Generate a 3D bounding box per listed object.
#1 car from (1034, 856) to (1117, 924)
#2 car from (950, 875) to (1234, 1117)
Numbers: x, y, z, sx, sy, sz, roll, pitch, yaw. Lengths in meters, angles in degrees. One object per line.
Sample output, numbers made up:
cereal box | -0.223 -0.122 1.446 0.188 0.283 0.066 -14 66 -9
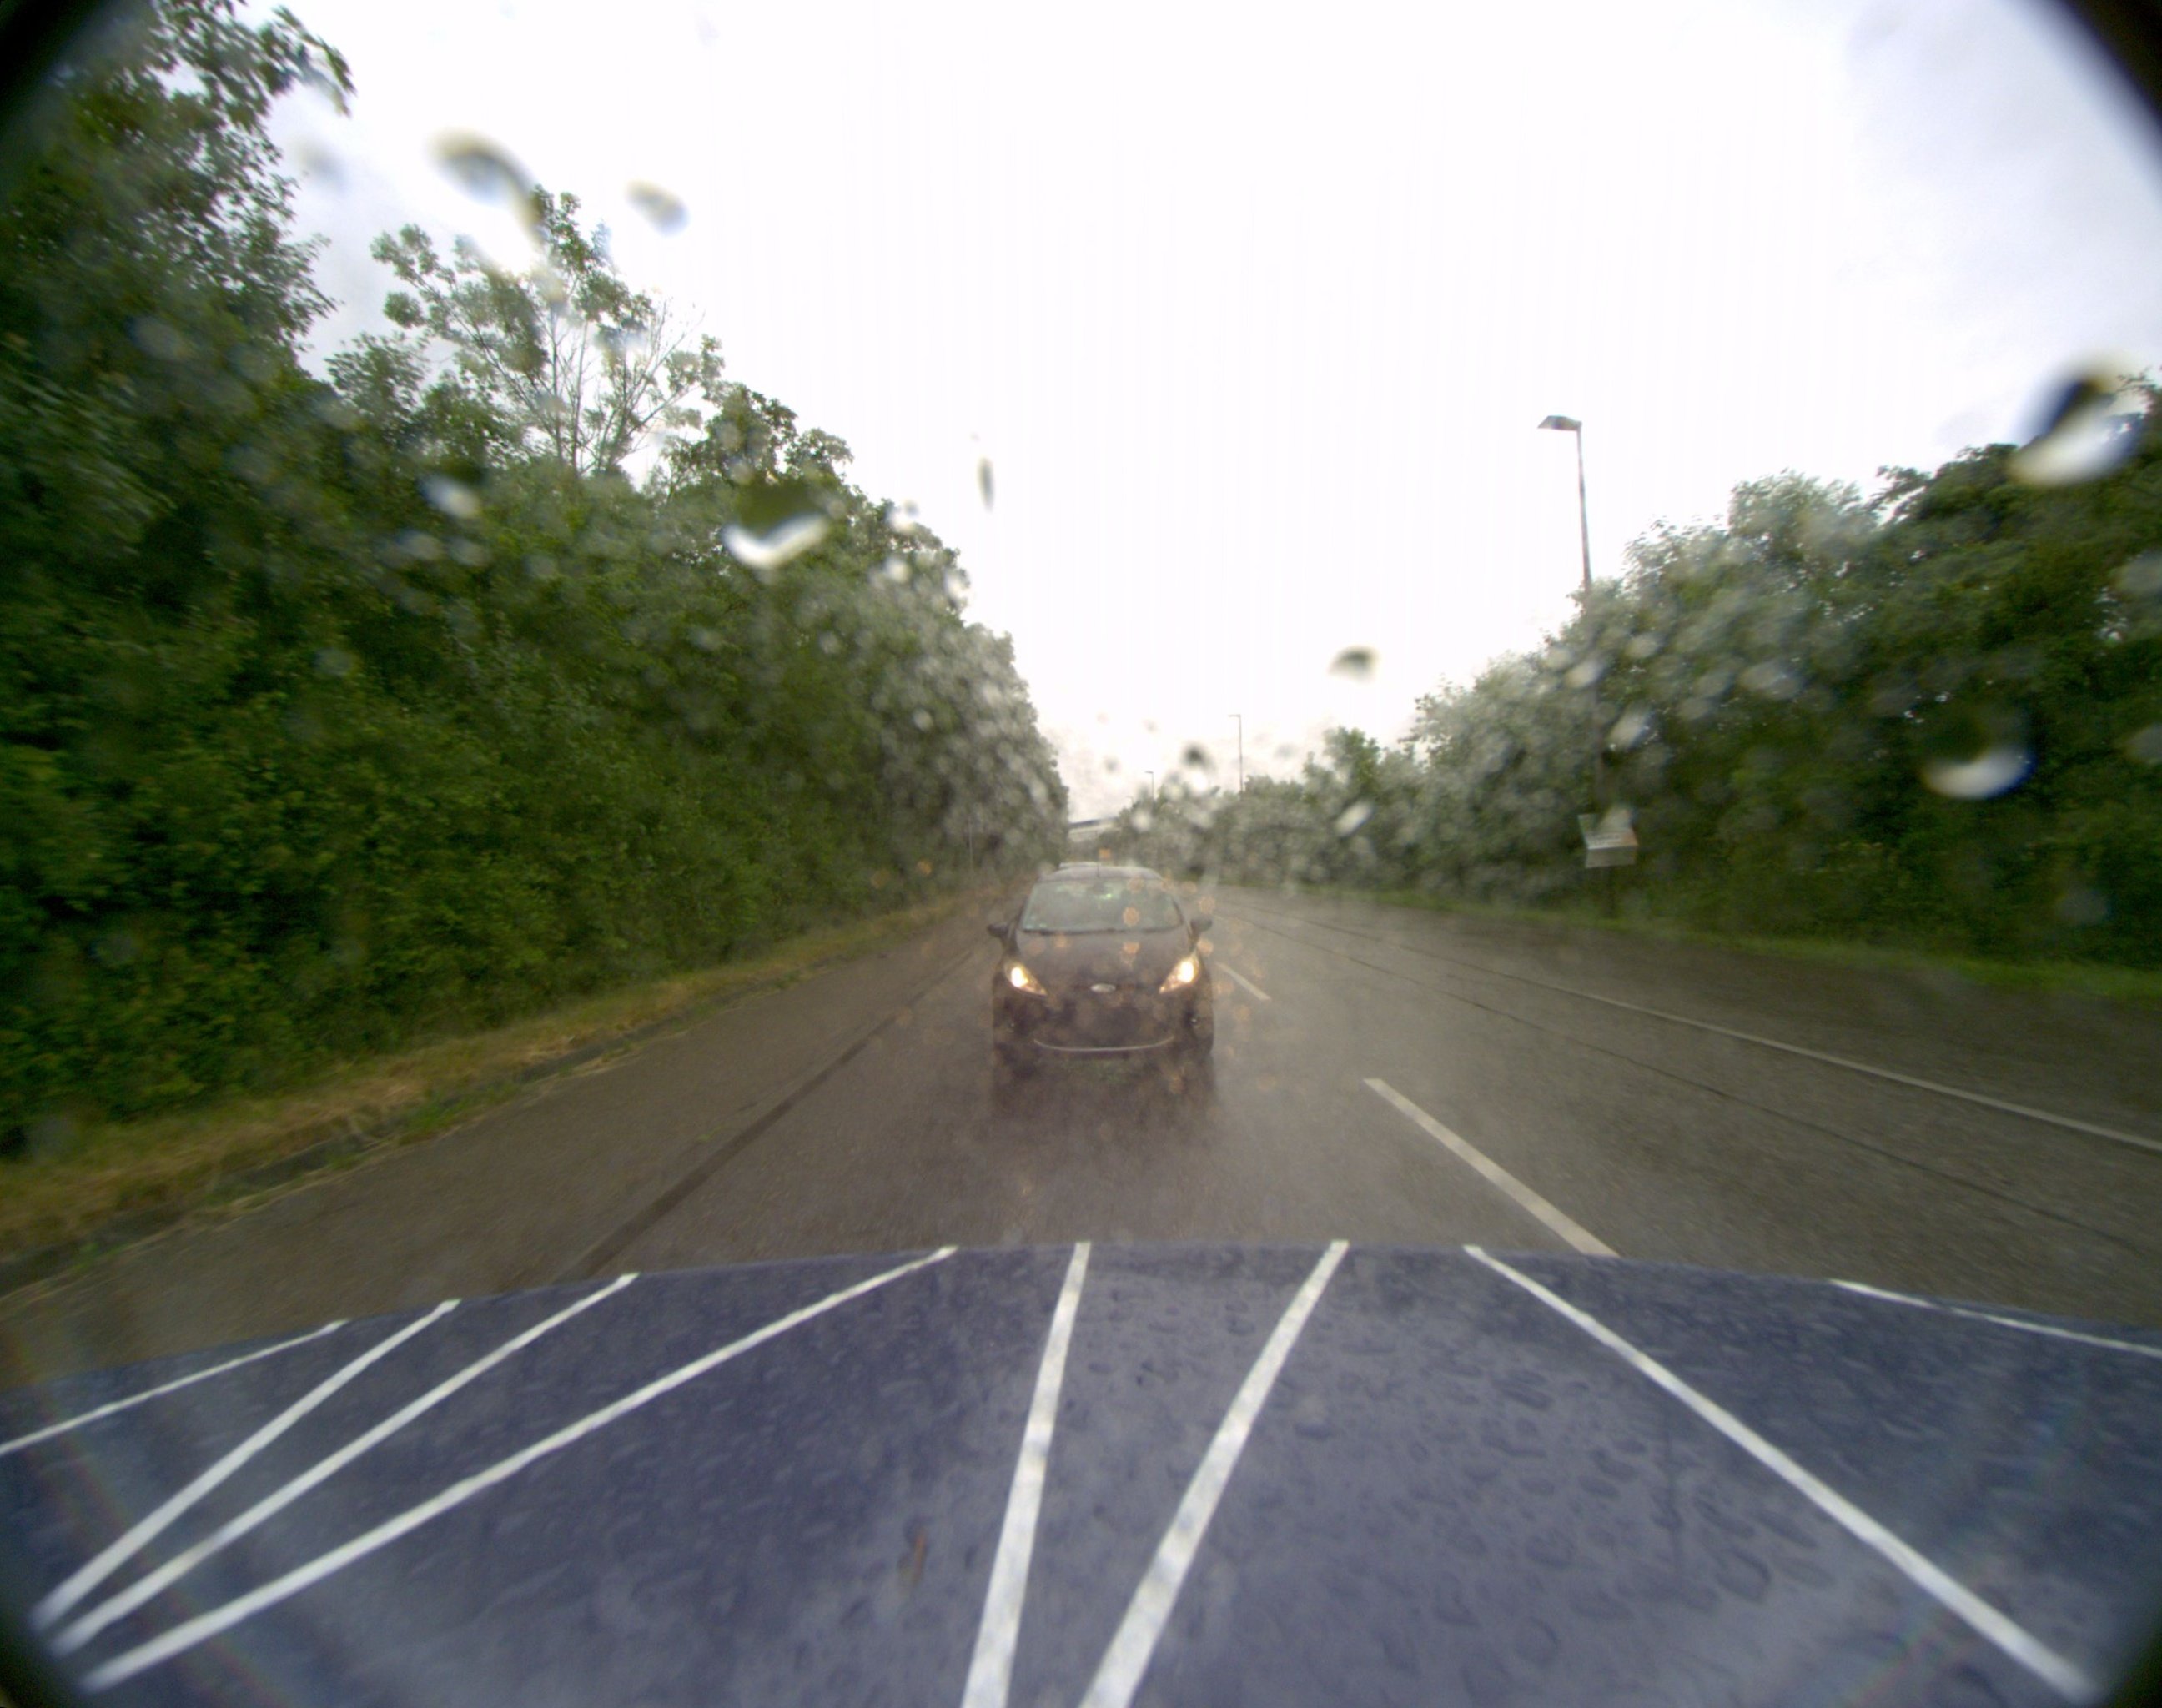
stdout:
car | -0.123 0.902 20.744 1.998 1.576 4.000 -2 0 0
car | 0.094 1.006 7.214 1.839 1.404 4.342 -2 0 0
